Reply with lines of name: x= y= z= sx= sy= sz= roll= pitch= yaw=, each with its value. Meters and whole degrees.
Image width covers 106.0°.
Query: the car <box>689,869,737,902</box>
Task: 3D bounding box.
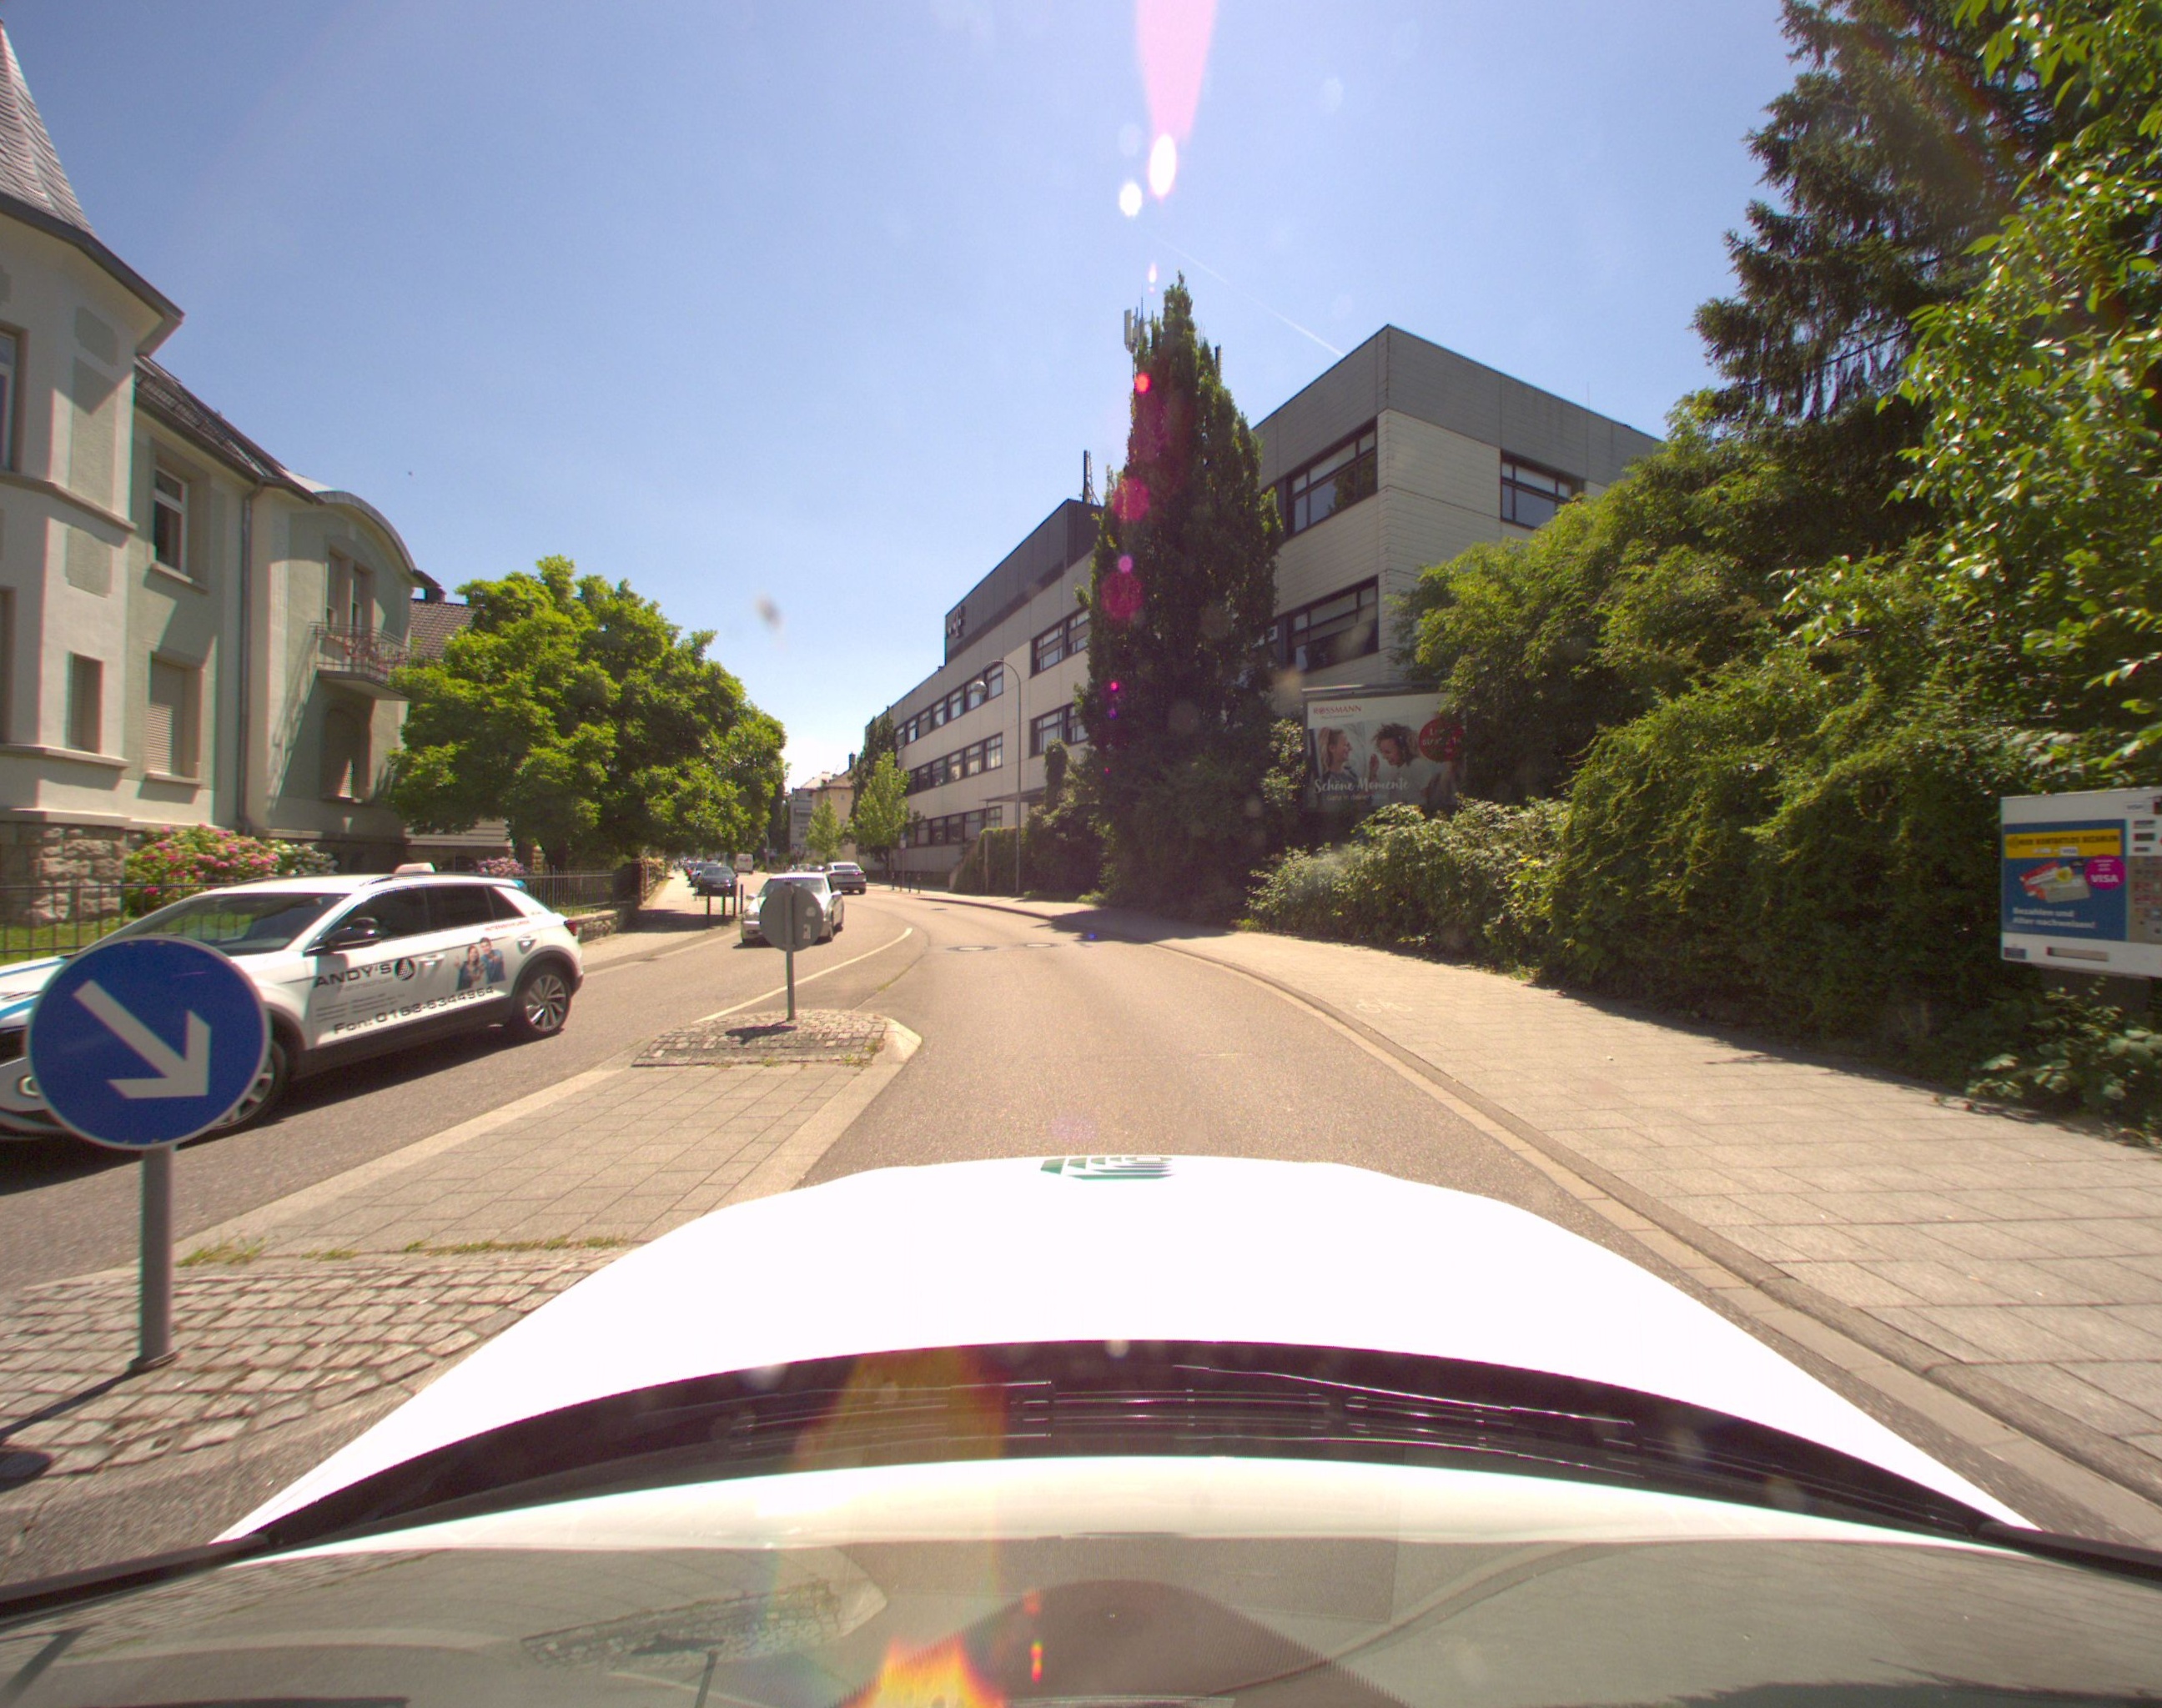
car: x=-18.249 y=1.527 z=40.281 sx=1.935 sy=1.437 sz=4.619 roll=3 pitch=-2 yaw=-26

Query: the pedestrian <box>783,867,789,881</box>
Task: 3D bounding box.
pedestrian: x=-35.455 y=2.404 z=97.823 sx=0.641 sy=1.758 sz=0.611 roll=1 pitch=-1 yaw=-31

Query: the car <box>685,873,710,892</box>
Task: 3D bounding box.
car: x=-31.786 y=2.359 z=67.452 sx=1.658 sy=1.419 sz=3.870 roll=3 pitch=-2 yaw=-28

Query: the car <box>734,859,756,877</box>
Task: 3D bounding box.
car: x=-43.288 y=1.827 z=104.866 sx=2.082 sy=2.197 sz=5.091 roll=-1 pitch=0 yaw=-28

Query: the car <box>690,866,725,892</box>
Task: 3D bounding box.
car: x=-24.643 y=1.642 z=53.685 sx=1.935 sy=1.573 sz=4.619 roll=3 pitch=-2 yaw=-26

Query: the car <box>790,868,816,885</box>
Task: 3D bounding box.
car: x=-25.599 y=2.017 z=74.883 sx=1.668 sy=1.488 sz=4.307 roll=-1 pitch=0 yaw=-27

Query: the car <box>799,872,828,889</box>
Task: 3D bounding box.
car: x=-22.851 y=2.271 z=69.581 sx=1.872 sy=1.373 sz=3.966 roll=0 pitch=-1 yaw=-26

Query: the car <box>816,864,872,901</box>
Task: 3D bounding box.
car: x=-12.309 y=1.430 z=42.177 sx=1.947 sy=1.614 sz=4.433 roll=-5 pitch=1 yaw=-26

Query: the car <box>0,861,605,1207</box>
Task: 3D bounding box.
car: x=-5.912 y=0.898 z=6.175 sx=1.864 sy=1.623 sz=4.308 roll=0 pitch=0 yaw=4

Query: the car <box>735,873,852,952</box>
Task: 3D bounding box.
car: x=-6.135 y=1.167 z=17.846 sx=1.759 sy=1.435 sz=4.287 roll=-1 pitch=-1 yaw=-11

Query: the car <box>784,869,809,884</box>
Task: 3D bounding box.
car: x=-27.664 y=2.134 z=79.118 sx=1.735 sy=1.383 sz=4.362 roll=-1 pitch=0 yaw=-27
